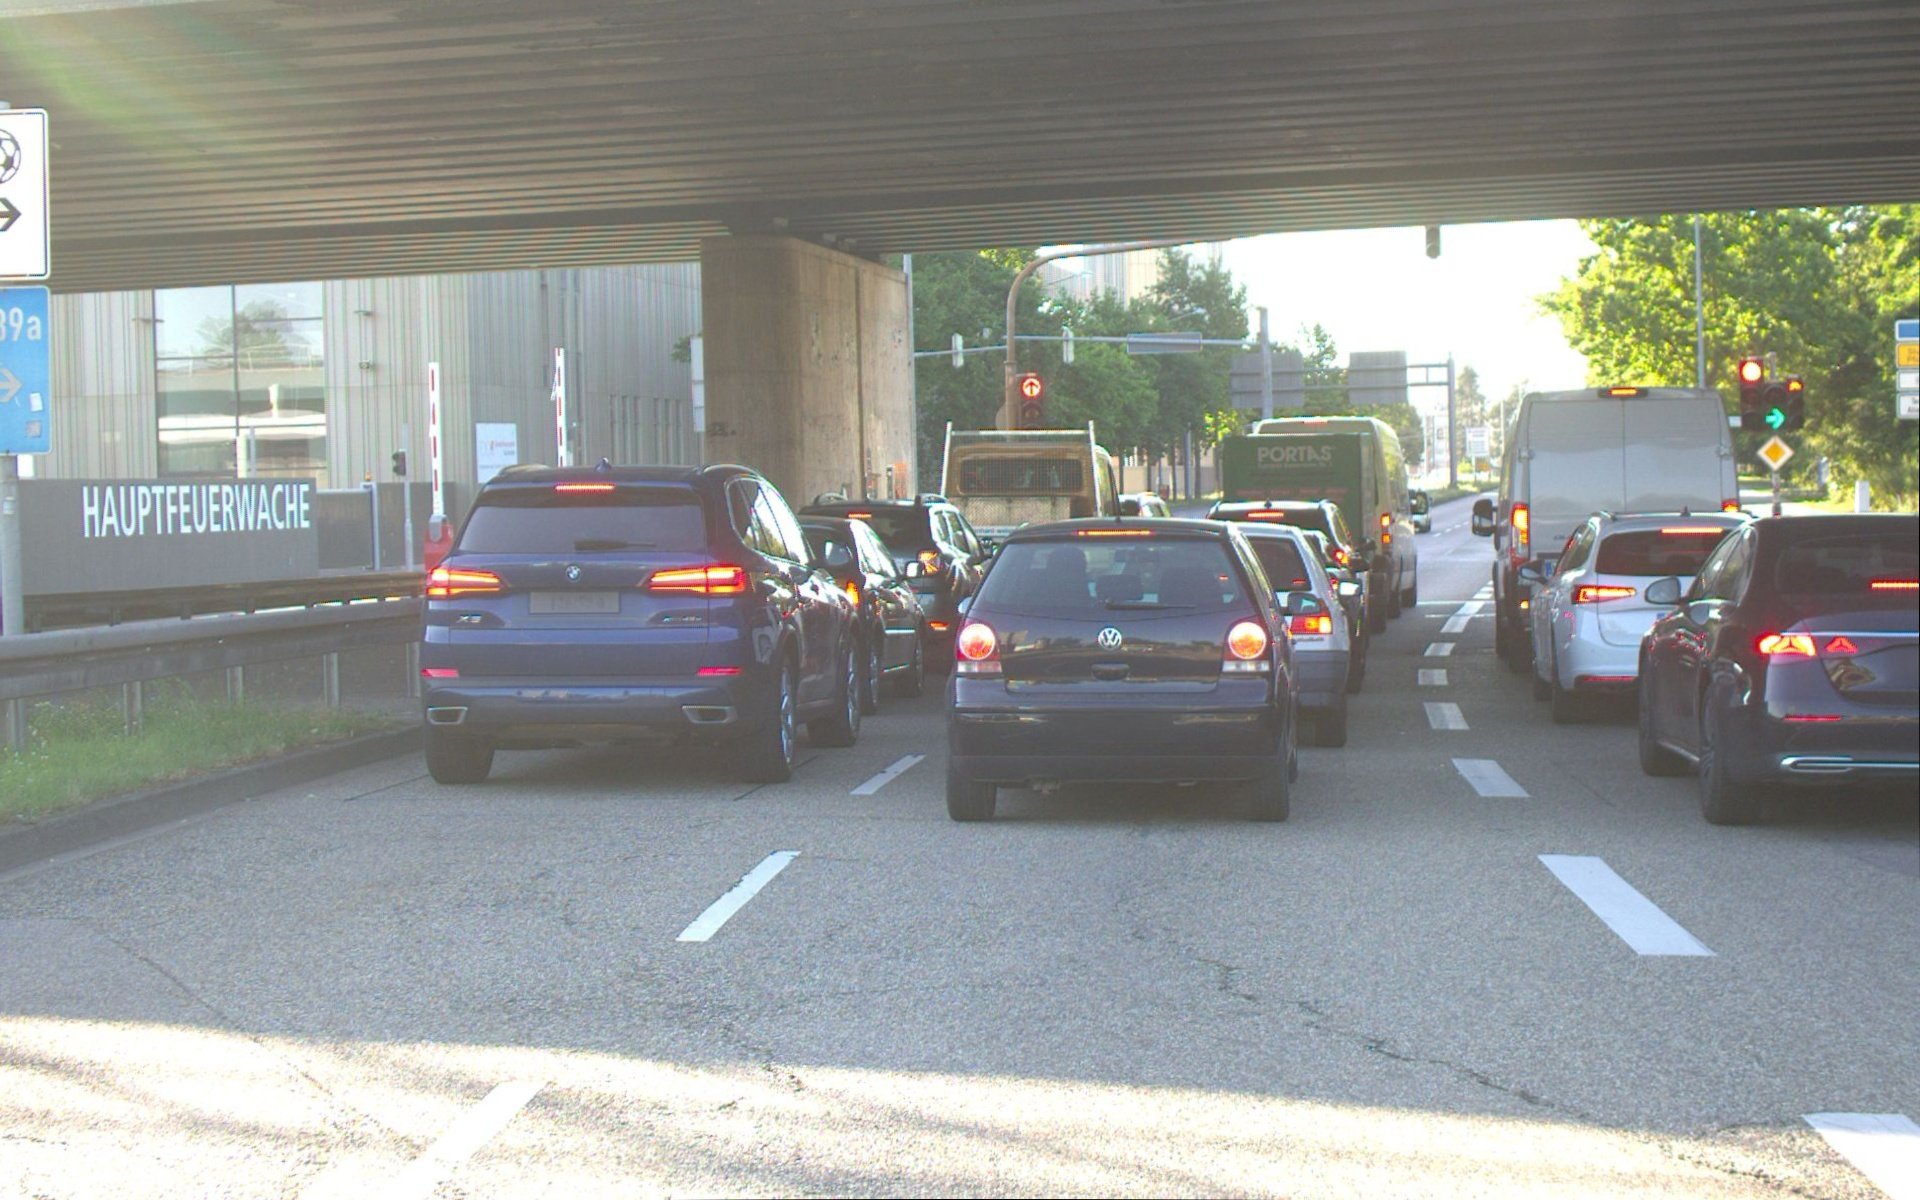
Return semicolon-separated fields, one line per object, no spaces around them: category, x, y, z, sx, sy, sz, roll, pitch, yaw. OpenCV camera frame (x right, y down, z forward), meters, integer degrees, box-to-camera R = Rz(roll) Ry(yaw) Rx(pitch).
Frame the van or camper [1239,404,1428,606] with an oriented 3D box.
van or camper;5.181;-1.252;47.014;1.994;2.562;5.915;-1;1;12

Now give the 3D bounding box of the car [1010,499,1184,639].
car;2.008;-0.443;49.257;1.994;1.894;3.998;-1;0;9

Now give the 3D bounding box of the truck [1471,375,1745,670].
truck;6.022;-0.712;32.445;2.112;2.511;4.400;-2;1;6

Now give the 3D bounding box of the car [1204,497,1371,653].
car;3.445;-0.261;35.711;1.582;1.527;3.831;0;0;8

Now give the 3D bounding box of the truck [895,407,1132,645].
truck;0.710;-0.828;39.962;2.028;2.548;5.536;-1;1;8

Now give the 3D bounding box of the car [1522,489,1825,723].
car;5.011;0.021;24.581;1.773;1.490;3.831;-2;0;7

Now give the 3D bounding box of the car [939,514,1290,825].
car;0.814;0.300;17.487;1.582;1.404;3.831;0;0;3

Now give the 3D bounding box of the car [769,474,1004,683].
car;-0.621;-0.206;32.236;1.841;1.713;4.000;-4;0;2

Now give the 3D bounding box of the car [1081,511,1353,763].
car;1.743;0.183;22.464;1.547;1.418;3.416;-4;1;7

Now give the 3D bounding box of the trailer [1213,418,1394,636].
trailer;4.193;-0.862;41.550;1.865;2.456;3.830;-2;0;9

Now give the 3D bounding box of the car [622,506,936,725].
car;-1.306;0.087;26.310;1.841;1.435;3.675;-4;0;5

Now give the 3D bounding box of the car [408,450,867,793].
car;-1.727;0.088;19.904;1.829;1.732;4.461;-1;1;5

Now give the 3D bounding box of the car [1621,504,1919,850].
car;4.442;0.276;17.245;1.741;1.449;4.605;0;2;5

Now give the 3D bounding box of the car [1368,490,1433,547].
car;13.111;-2.412;102.128;1.801;1.599;3.999;-1;0;9
